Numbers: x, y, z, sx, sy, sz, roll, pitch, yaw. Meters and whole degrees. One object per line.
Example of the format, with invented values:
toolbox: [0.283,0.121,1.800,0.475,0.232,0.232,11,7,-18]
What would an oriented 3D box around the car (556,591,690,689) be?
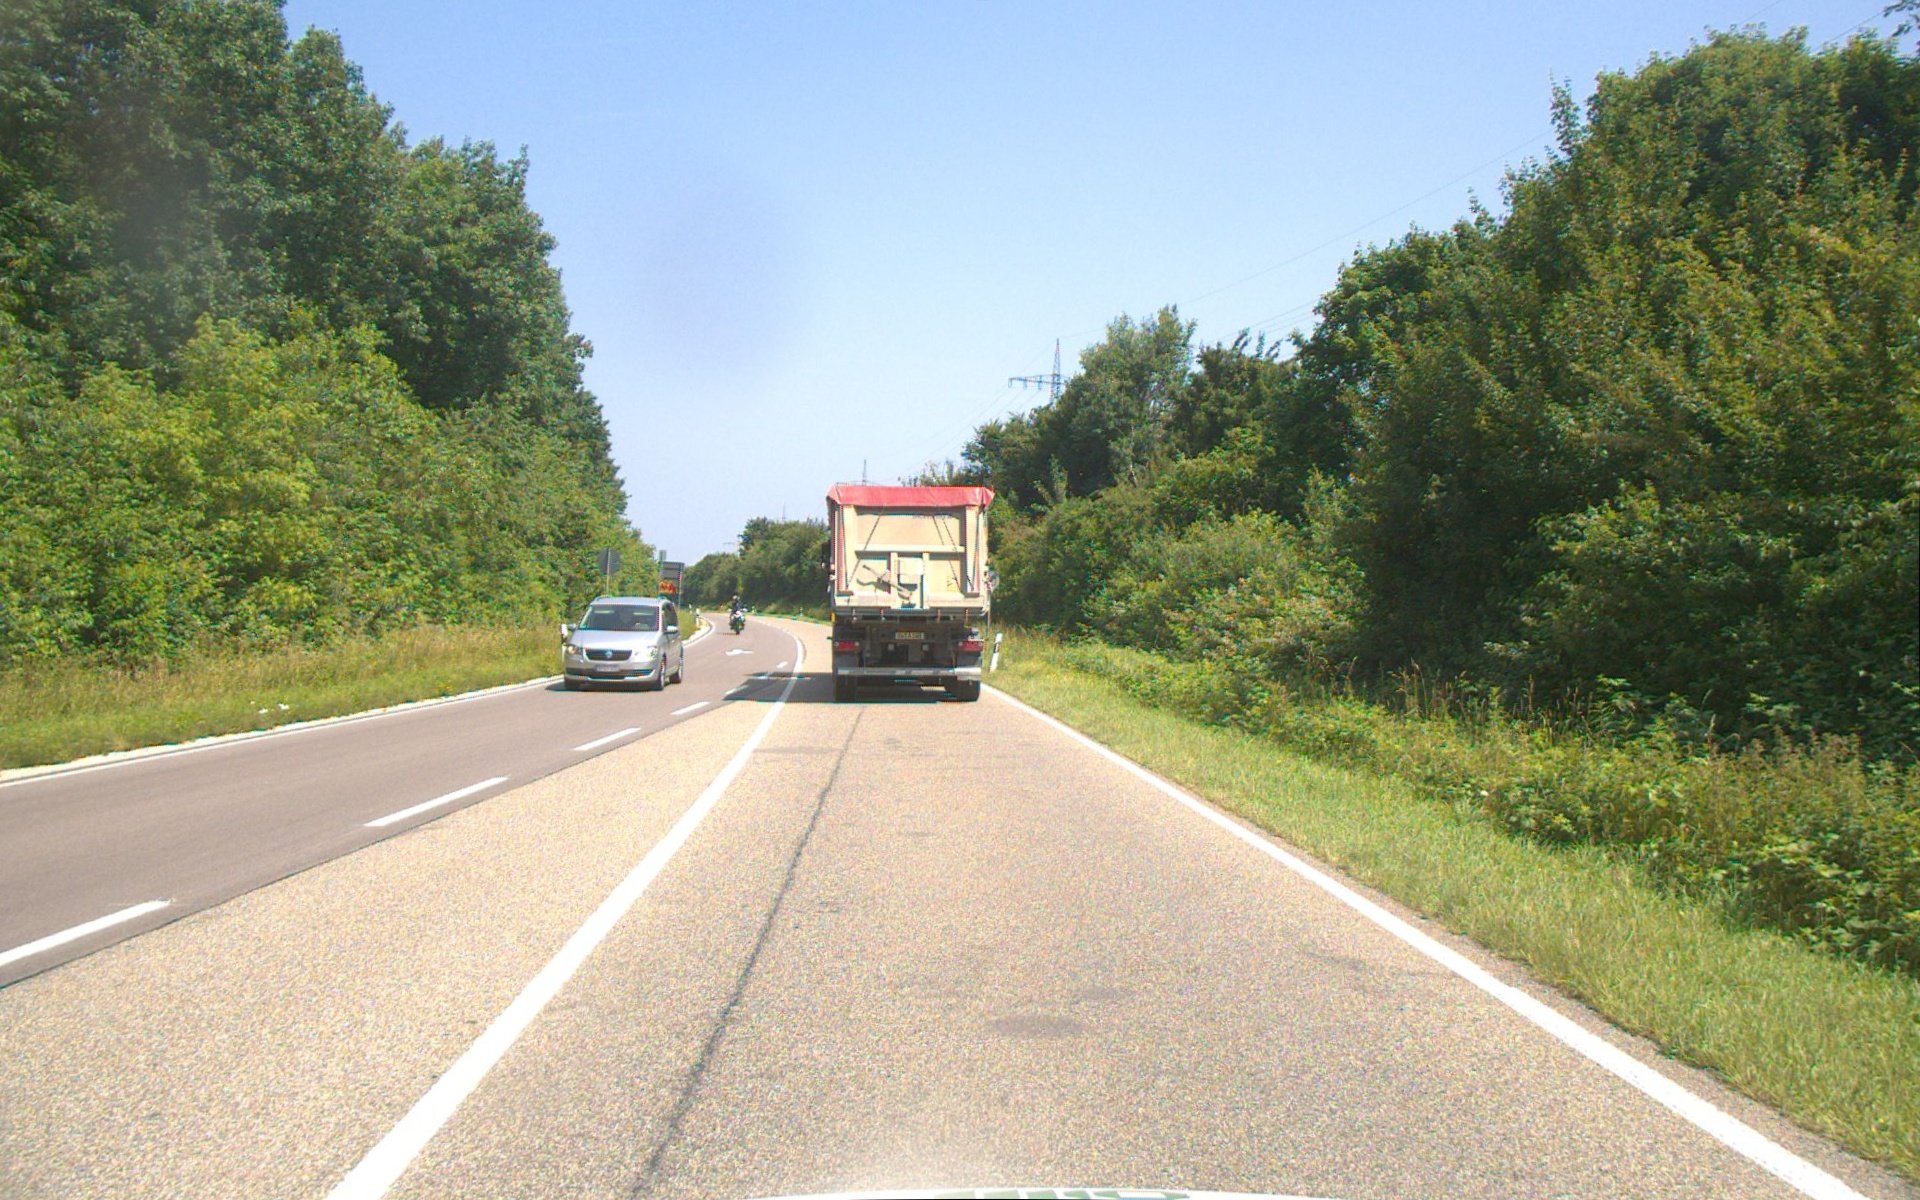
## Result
car: [-6.169,0.714,30.703,1.766,1.665,4.209,1,-1,-3]

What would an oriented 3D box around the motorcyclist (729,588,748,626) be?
motorcyclist: [-10.492,0.337,78.367,0.814,1.782,0.622,1,-1,-7]

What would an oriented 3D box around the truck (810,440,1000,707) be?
truck: [-1.205,-0.401,31.253,2.836,4.032,11.923,1,0,-4]

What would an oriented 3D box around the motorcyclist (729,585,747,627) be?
motorcyclist: [-10.397,0.280,77.442,0.804,1.914,0.656,1,-1,-7]

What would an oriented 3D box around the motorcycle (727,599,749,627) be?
motorcycle: [-10.422,0.609,77.699,0.928,1.273,2.678,1,0,-6]
